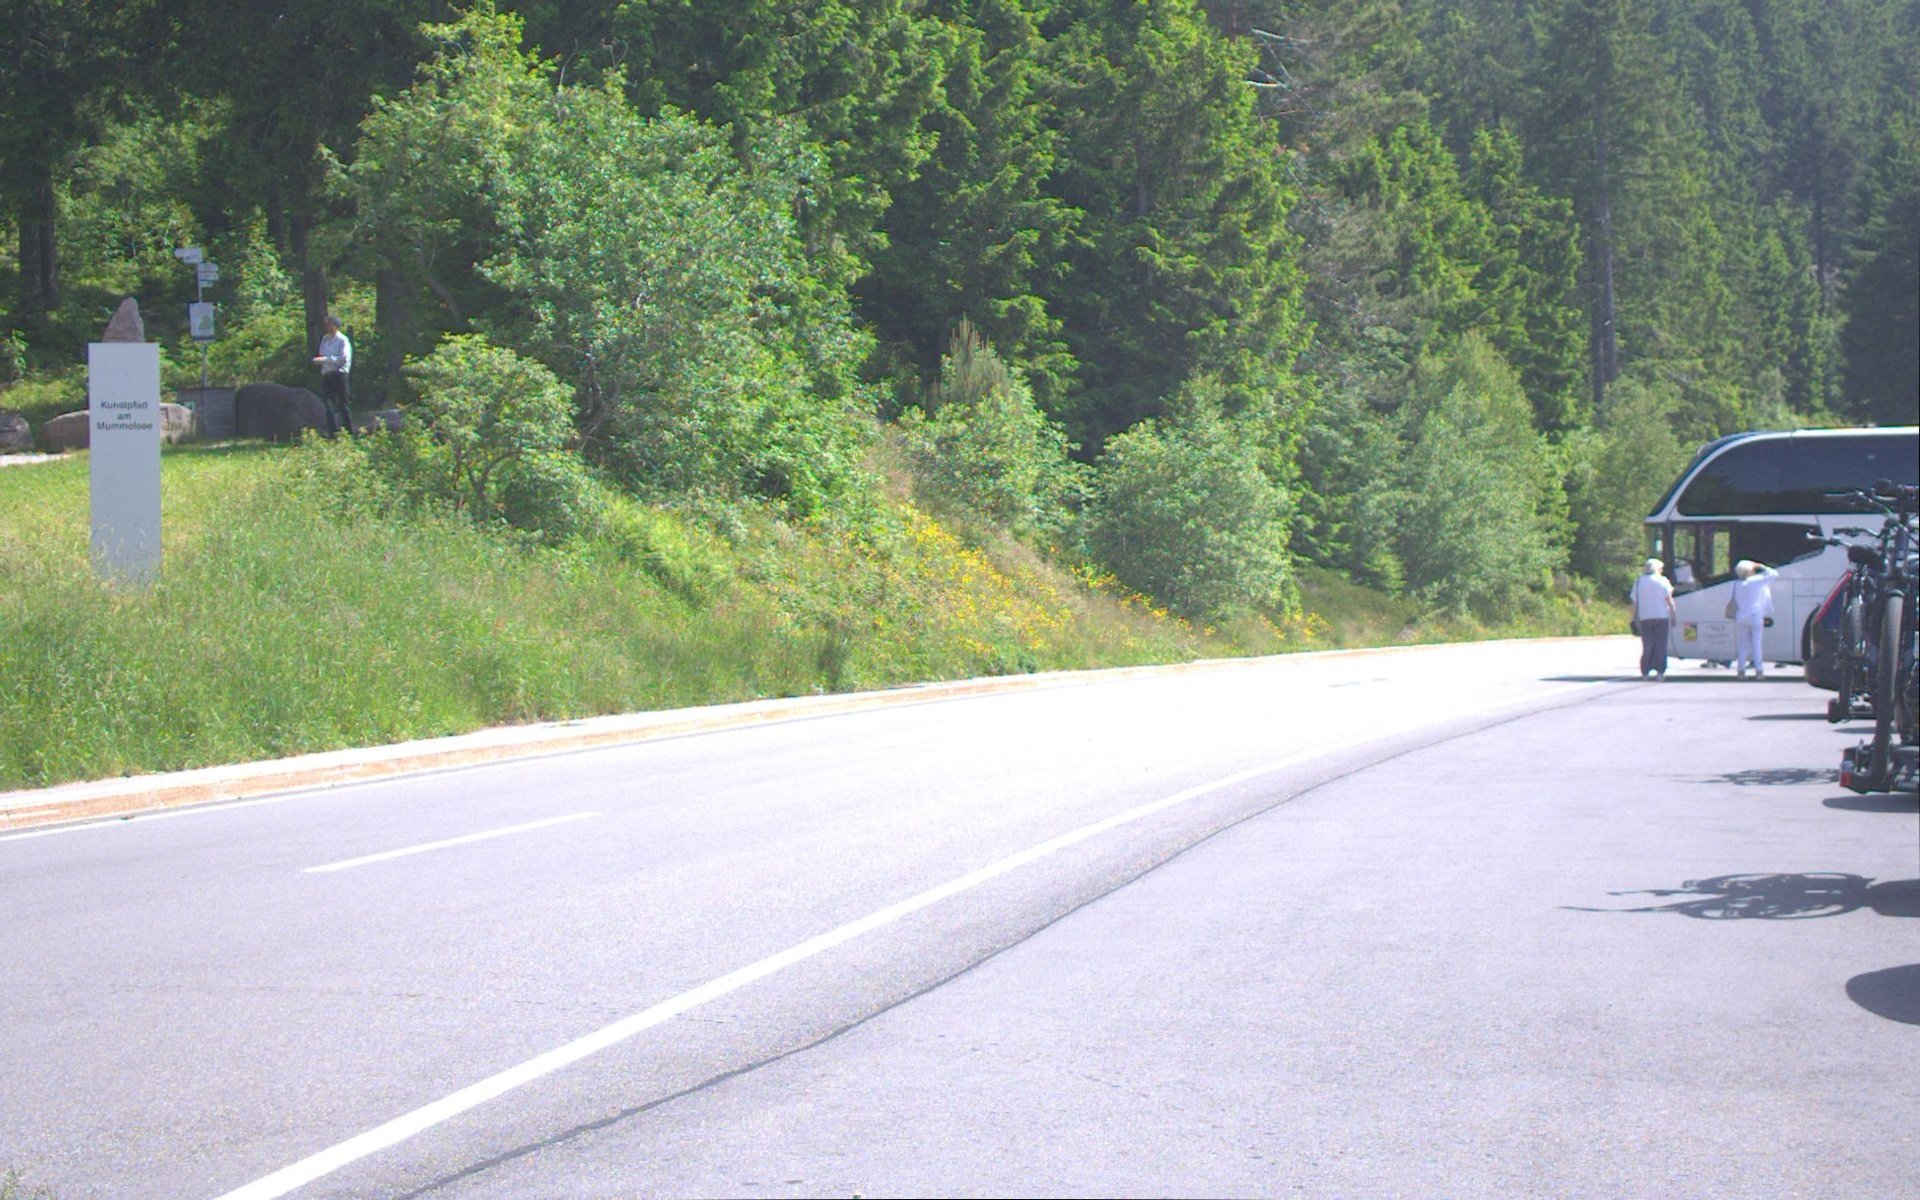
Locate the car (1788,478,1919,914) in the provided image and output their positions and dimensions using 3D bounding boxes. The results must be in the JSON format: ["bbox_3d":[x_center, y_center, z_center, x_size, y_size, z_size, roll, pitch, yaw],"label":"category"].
[{"bbox_3d":[5.898,0.324,13.726,4.952,1.690,1.944,-1,1,16],"label":"car"}]

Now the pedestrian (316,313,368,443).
[{"bbox_3d":[-9.126,-3.275,50.787,0.680,1.871,0.542,-2,0,-10],"label":"pedestrian"}]

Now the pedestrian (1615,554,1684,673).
[{"bbox_3d":[9.353,0.184,46.615,0.771,1.579,0.771,-1,0,20],"label":"pedestrian"}]

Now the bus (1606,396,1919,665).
[{"bbox_3d":[15.592,-1.037,46.343,13.109,3.520,3.040,-1,0,24],"label":"bus"}]

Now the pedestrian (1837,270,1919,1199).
[{"bbox_3d":[1.843,0.444,5.155,0.737,1.864,0.756,3,4,43],"label":"pedestrian"}]

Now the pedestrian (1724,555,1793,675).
[{"bbox_3d":[10.715,0.194,46.139,0.771,1.579,0.771,-1,0,20],"label":"pedestrian"}]

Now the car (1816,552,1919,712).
[{"bbox_3d":[10.077,0.250,32.109,3.989,1.444,1.860,-1,0,13],"label":"car"}]

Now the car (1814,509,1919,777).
[{"bbox_3d":[8.042,0.196,21.783,5.037,1.645,2.047,-1,0,13],"label":"car"}]

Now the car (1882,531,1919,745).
[{"bbox_3d":[8.884,0.214,25.260,3.989,1.548,1.659,-1,0,13],"label":"car"}]

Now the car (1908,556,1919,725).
[{"bbox_3d":[10.047,0.279,28.753,3.989,1.393,1.619,-1,0,13],"label":"car"}]
